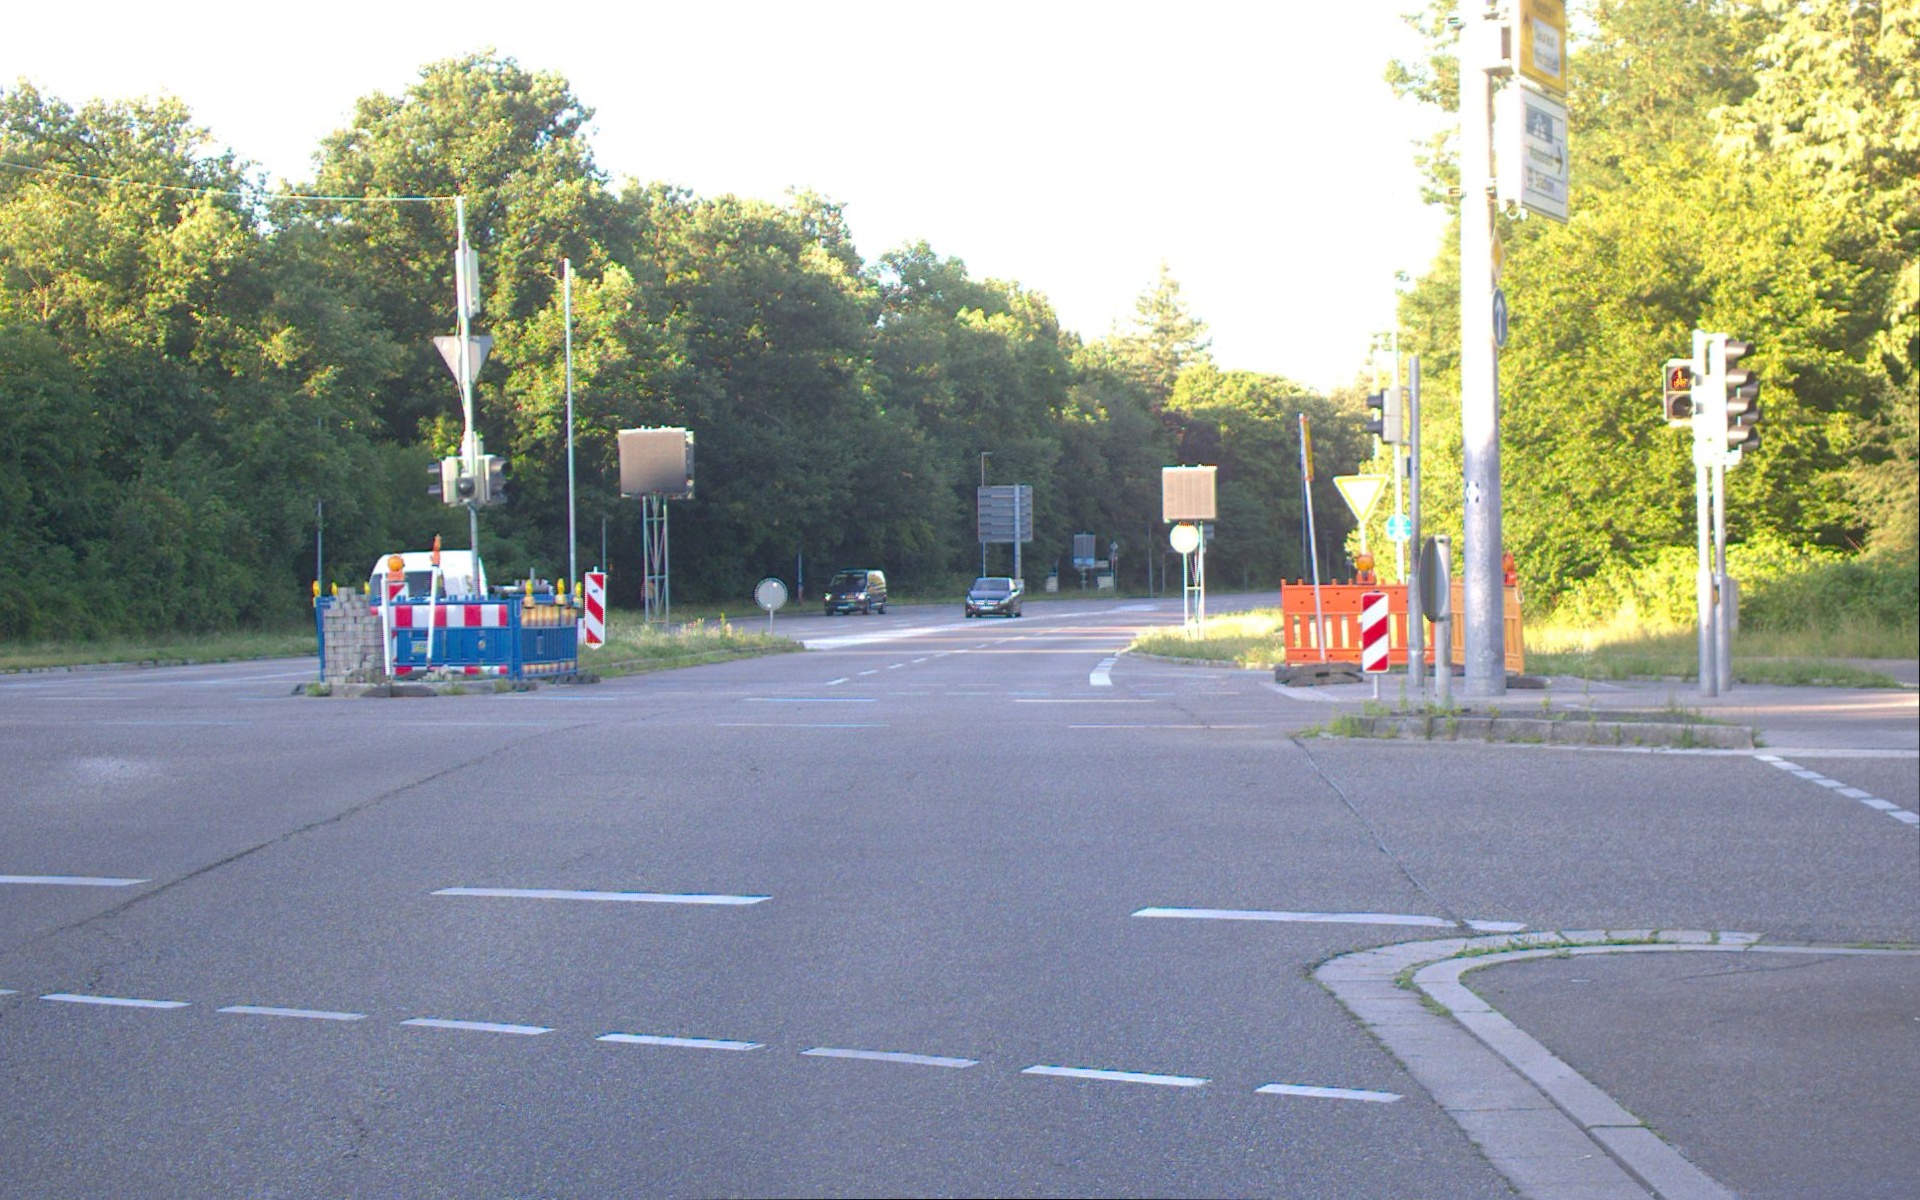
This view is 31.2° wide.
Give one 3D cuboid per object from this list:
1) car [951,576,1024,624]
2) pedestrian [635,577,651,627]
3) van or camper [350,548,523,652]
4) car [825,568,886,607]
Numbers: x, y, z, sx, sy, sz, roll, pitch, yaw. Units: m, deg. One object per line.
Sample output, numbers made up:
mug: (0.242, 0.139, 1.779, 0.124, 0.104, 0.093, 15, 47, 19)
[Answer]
car: (1.084, -0.003, 131.587, 1.994, 1.634, 3.998, -2, 2, 12)
pedestrian: (-12.900, 0.090, 139.895, 0.521, 2.007, 0.600, 1, 0, -1)
van or camper: (-13.946, -0.056, 92.164, 2.886, 2.643, 7.120, 0, 1, 6)
car: (-4.544, -0.546, 150.105, 1.994, 1.634, 3.999, 0, 1, 8)
